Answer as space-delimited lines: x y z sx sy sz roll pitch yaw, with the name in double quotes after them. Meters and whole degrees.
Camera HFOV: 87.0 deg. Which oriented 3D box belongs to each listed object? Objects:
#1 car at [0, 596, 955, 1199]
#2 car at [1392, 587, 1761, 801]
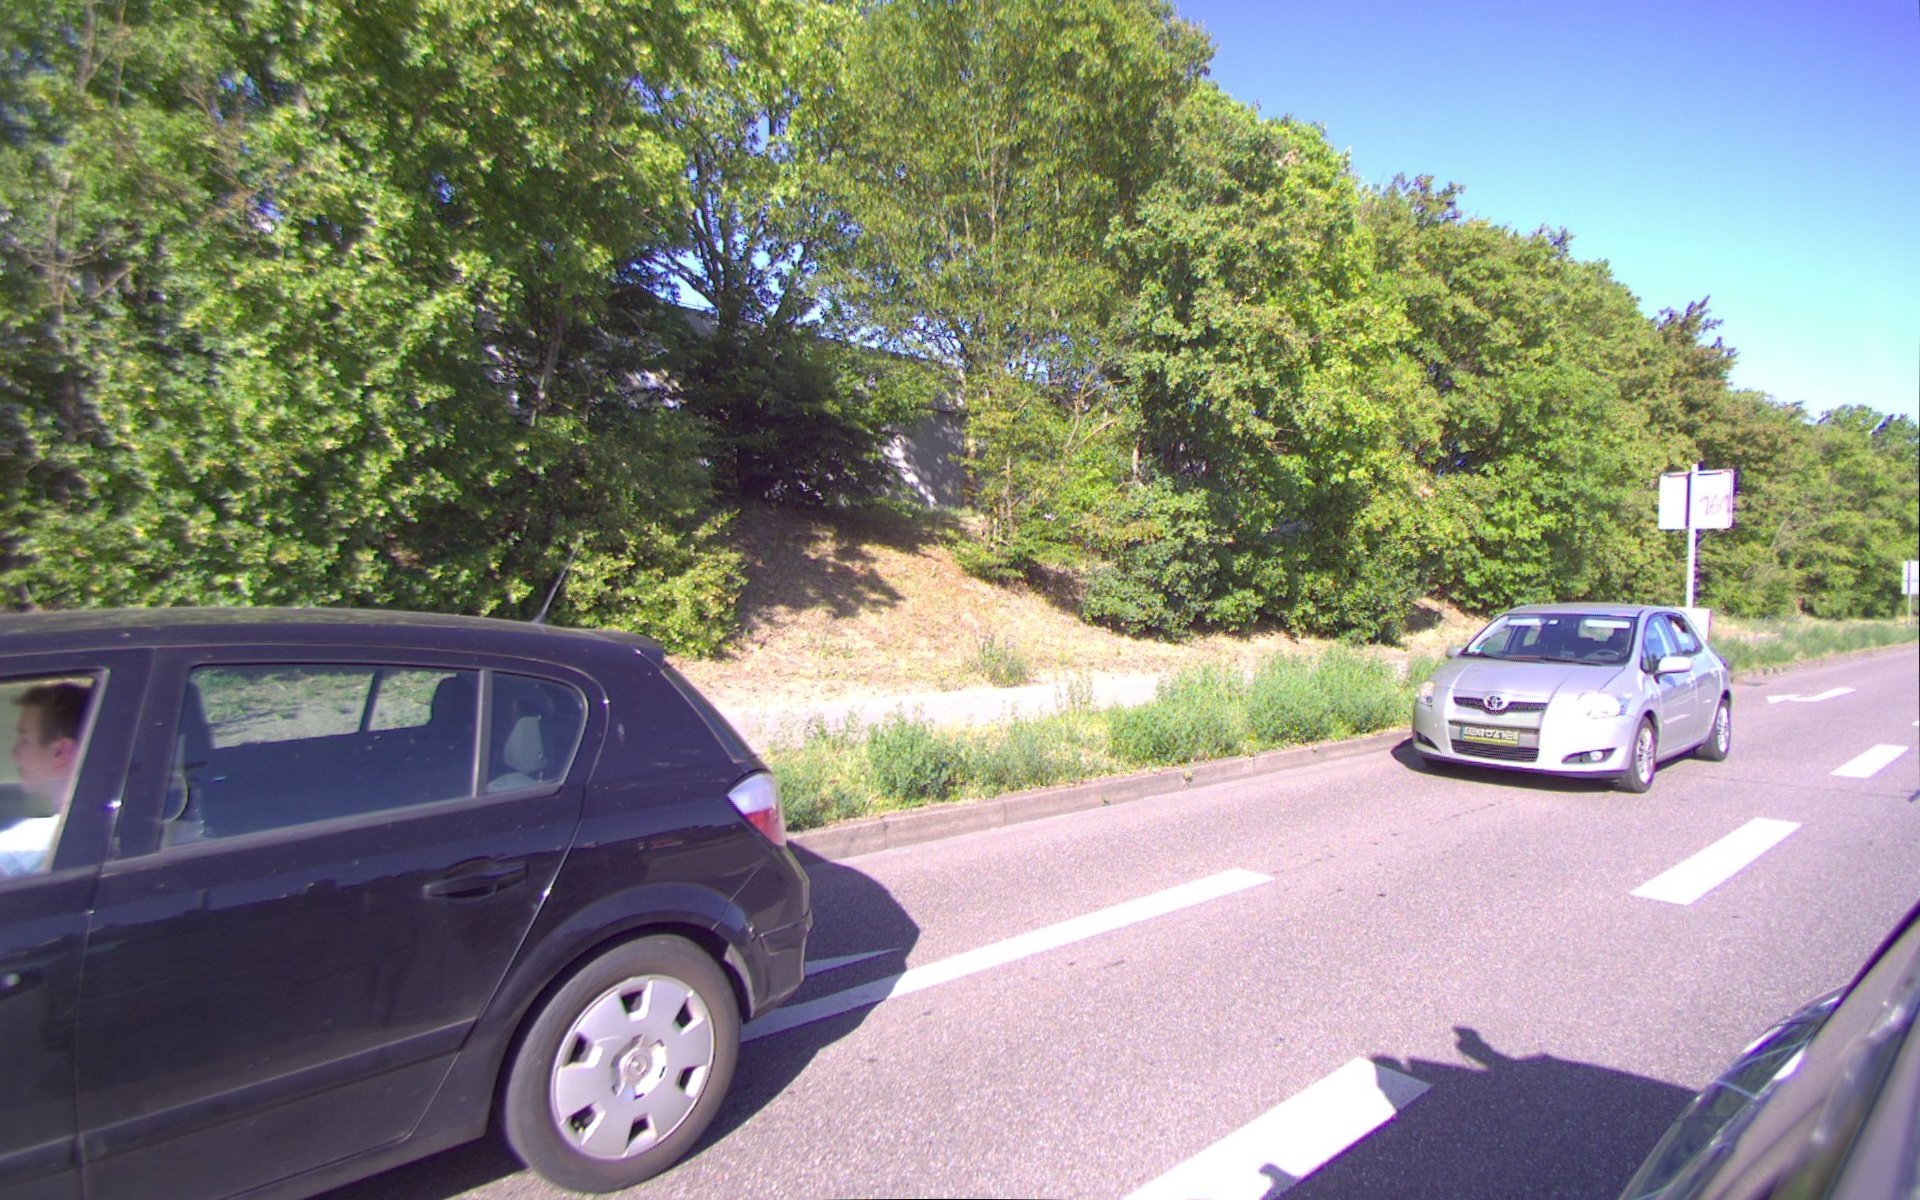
-2.195 0.724 2.370 4.295 1.460 1.737 0 0 -41 "car"
5.821 0.685 9.363 4.036 1.556 1.786 0 0 -41 "car"
